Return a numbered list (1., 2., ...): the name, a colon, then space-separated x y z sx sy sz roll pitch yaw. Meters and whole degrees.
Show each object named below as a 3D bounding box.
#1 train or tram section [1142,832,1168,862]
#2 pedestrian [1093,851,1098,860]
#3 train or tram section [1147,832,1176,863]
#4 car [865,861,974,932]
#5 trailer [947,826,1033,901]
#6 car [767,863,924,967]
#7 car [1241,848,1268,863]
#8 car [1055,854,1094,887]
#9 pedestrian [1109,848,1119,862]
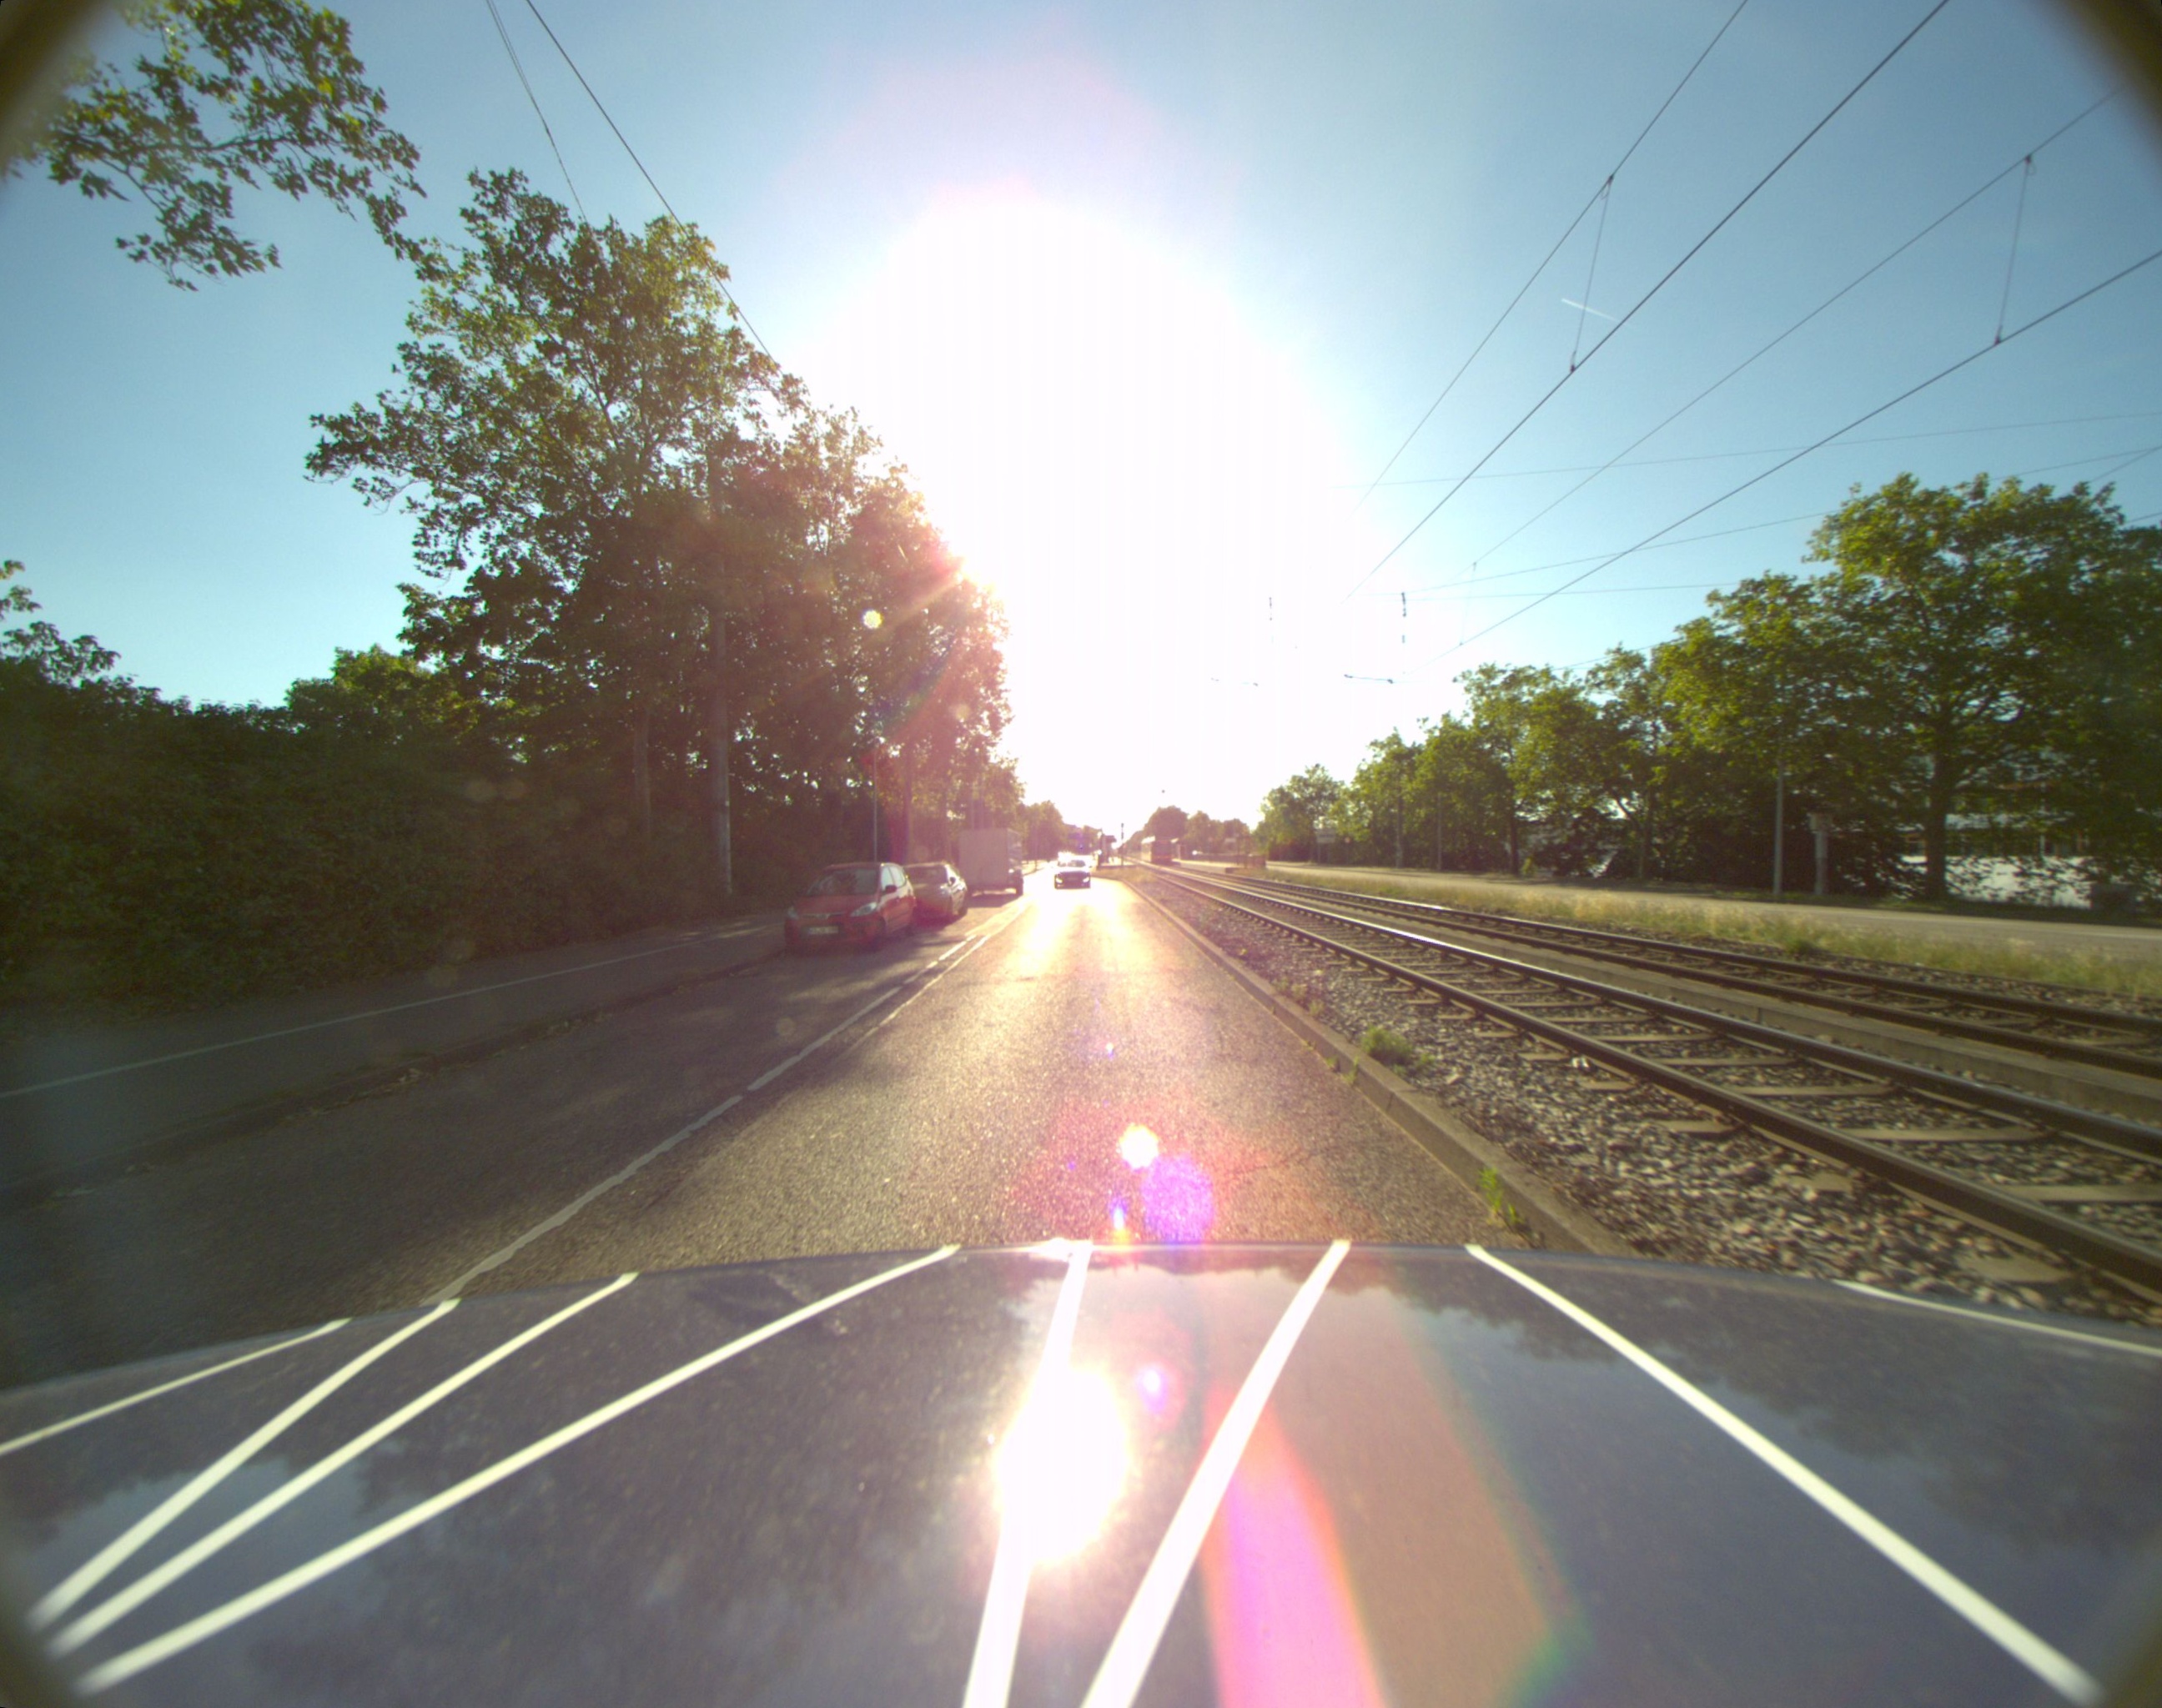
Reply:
1. train or tram section: 10.802 -1.071 112.555 2.834 3.983 15.875 -2 1 2
2. pedestrian: 2.961 0.292 153.285 0.891 1.635 0.987 0 1 7
3. train or tram section: 10.256 -0.907 98.147 2.834 3.665 12.968 -2 1 2
4. car: -3.956 0.981 19.318 1.813 1.448 4.165 -3 0 0
5. trailer: -3.514 0.330 30.727 2.256 2.679 5.948 -1 1 4
6. car: -4.225 1.021 14.225 1.644 1.528 3.640 -3 0 1
7. car: 17.111 0.153 75.075 1.777 1.417 4.489 0 0 2
8. car: -0.293 0.792 37.842 1.786 1.530 4.000 0 0 2
9. pedestrian: 3.482 0.077 81.178 0.760 1.485 0.696 -1 1 35
